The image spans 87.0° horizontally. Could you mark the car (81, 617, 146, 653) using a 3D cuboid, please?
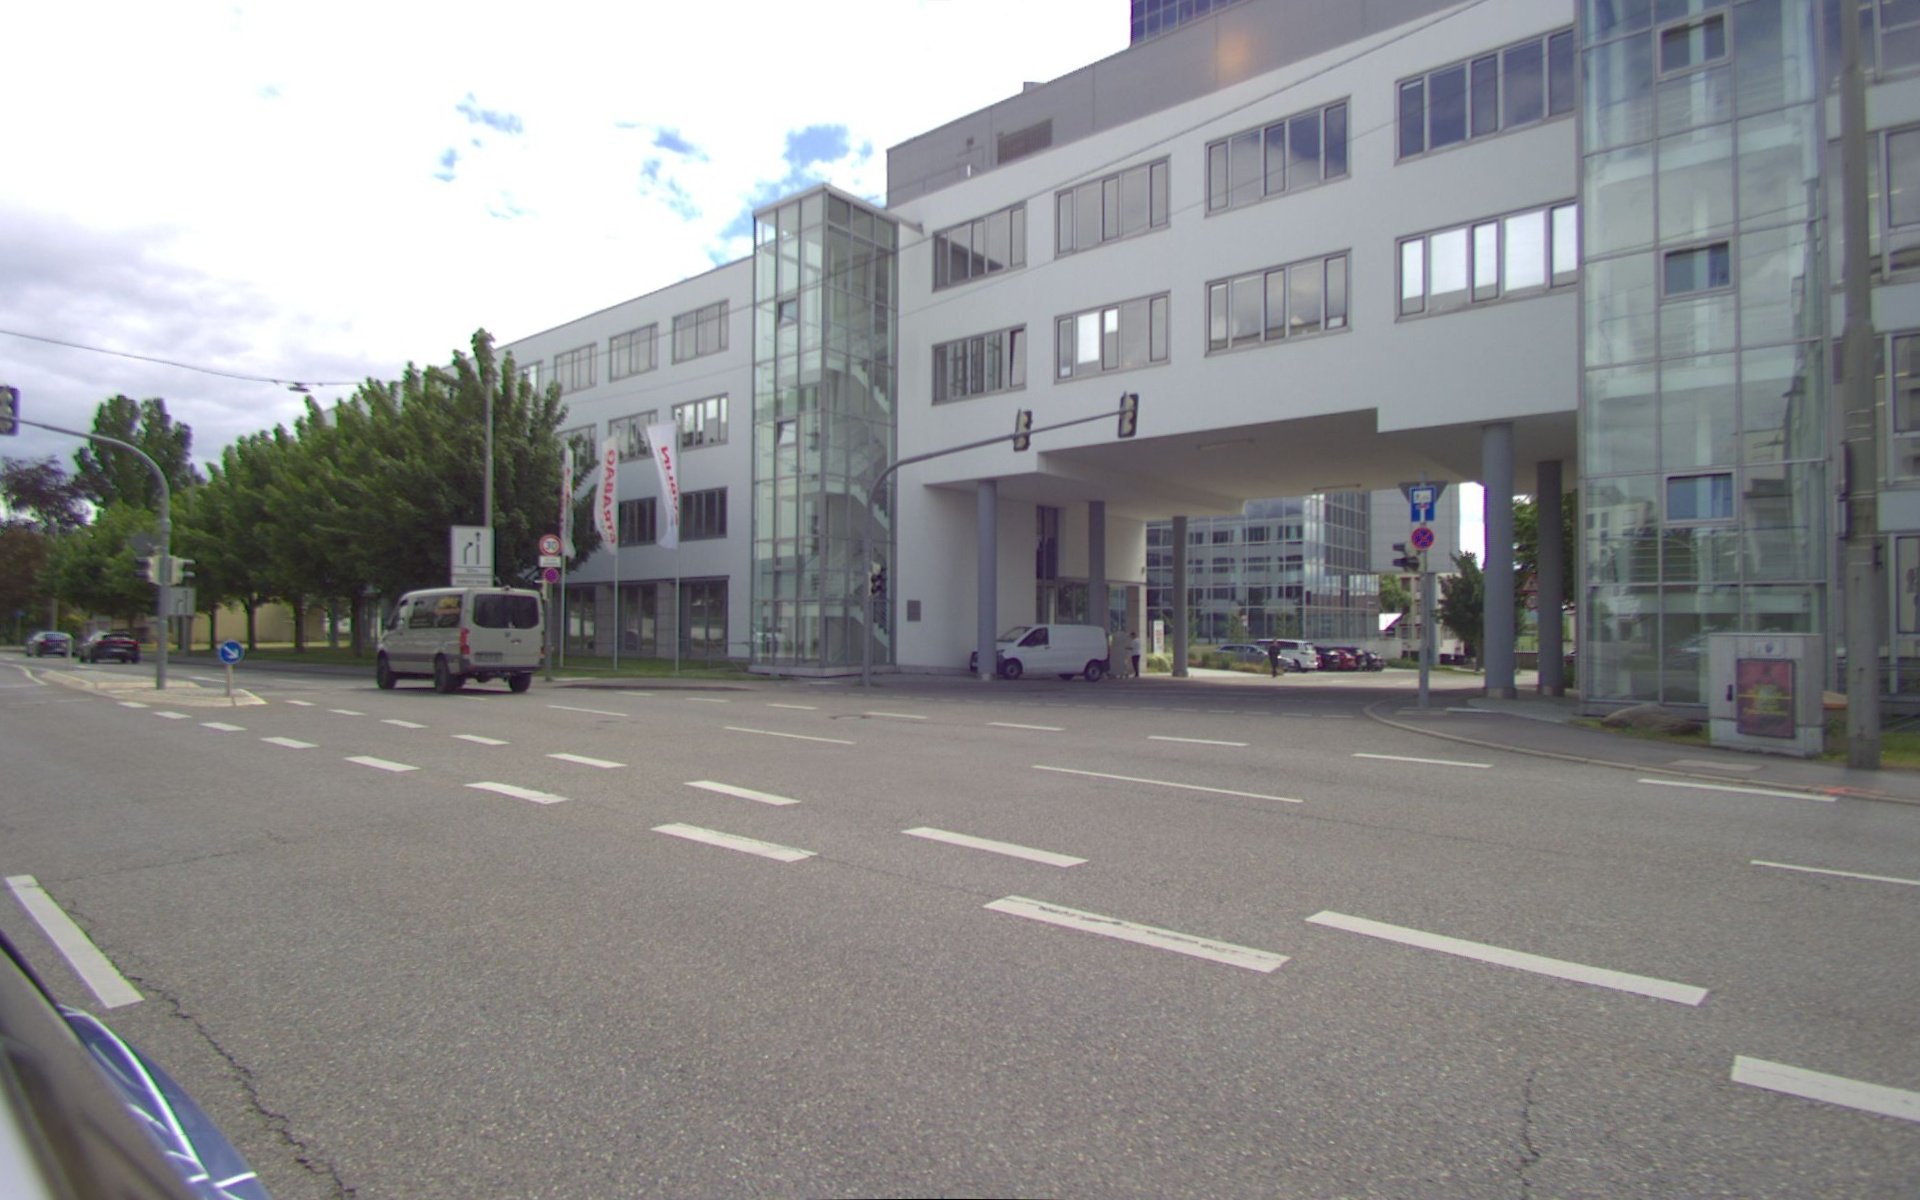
[{"bbox_3d":[-40.848,1.676,48.825,4.541,1.564,1.864,0,-2,44],"label":"car"}]

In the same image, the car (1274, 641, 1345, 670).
[{"bbox_3d":[22.587,3.569,65.466,4.002,1.665,1.825,0,1,39],"label":"car"}]

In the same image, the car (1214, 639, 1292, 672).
[{"bbox_3d":[17.208,3.238,59.512,3.996,1.715,1.974,0,1,39],"label":"car"}]

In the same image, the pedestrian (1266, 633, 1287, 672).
[{"bbox_3d":[15.147,2.511,48.435,0.815,1.796,0.692,0,1,36],"label":"pedestrian"}]

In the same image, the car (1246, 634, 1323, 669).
[{"bbox_3d":[19.505,3.062,60.933,3.995,1.853,1.930,0,1,39],"label":"car"}]

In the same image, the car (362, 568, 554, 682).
[{"bbox_3d":[-12.550,0.627,25.084,6.071,2.490,2.119,-1,-3,42],"label":"car"}]

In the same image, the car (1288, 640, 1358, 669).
[{"bbox_3d":[24.072,3.572,67.134,4.002,1.665,1.825,0,1,39],"label":"car"}]

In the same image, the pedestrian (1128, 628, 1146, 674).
[{"bbox_3d":[6.647,1.912,37.981,0.486,1.674,0.506,0,1,37],"label":"pedestrian"}]

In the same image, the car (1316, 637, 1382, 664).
[{"bbox_3d":[27.275,3.531,71.042,4.002,1.665,1.825,0,1,39],"label":"car"}]

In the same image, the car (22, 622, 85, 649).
[{"bbox_3d":[-54.375,2.117,60.669,5.044,1.456,2.004,0,-3,39],"label":"car"}]

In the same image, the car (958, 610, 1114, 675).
[{"bbox_3d":[2.570,1.433,34.010,4.751,1.882,2.091,4,-1,-26],"label":"car"}]
